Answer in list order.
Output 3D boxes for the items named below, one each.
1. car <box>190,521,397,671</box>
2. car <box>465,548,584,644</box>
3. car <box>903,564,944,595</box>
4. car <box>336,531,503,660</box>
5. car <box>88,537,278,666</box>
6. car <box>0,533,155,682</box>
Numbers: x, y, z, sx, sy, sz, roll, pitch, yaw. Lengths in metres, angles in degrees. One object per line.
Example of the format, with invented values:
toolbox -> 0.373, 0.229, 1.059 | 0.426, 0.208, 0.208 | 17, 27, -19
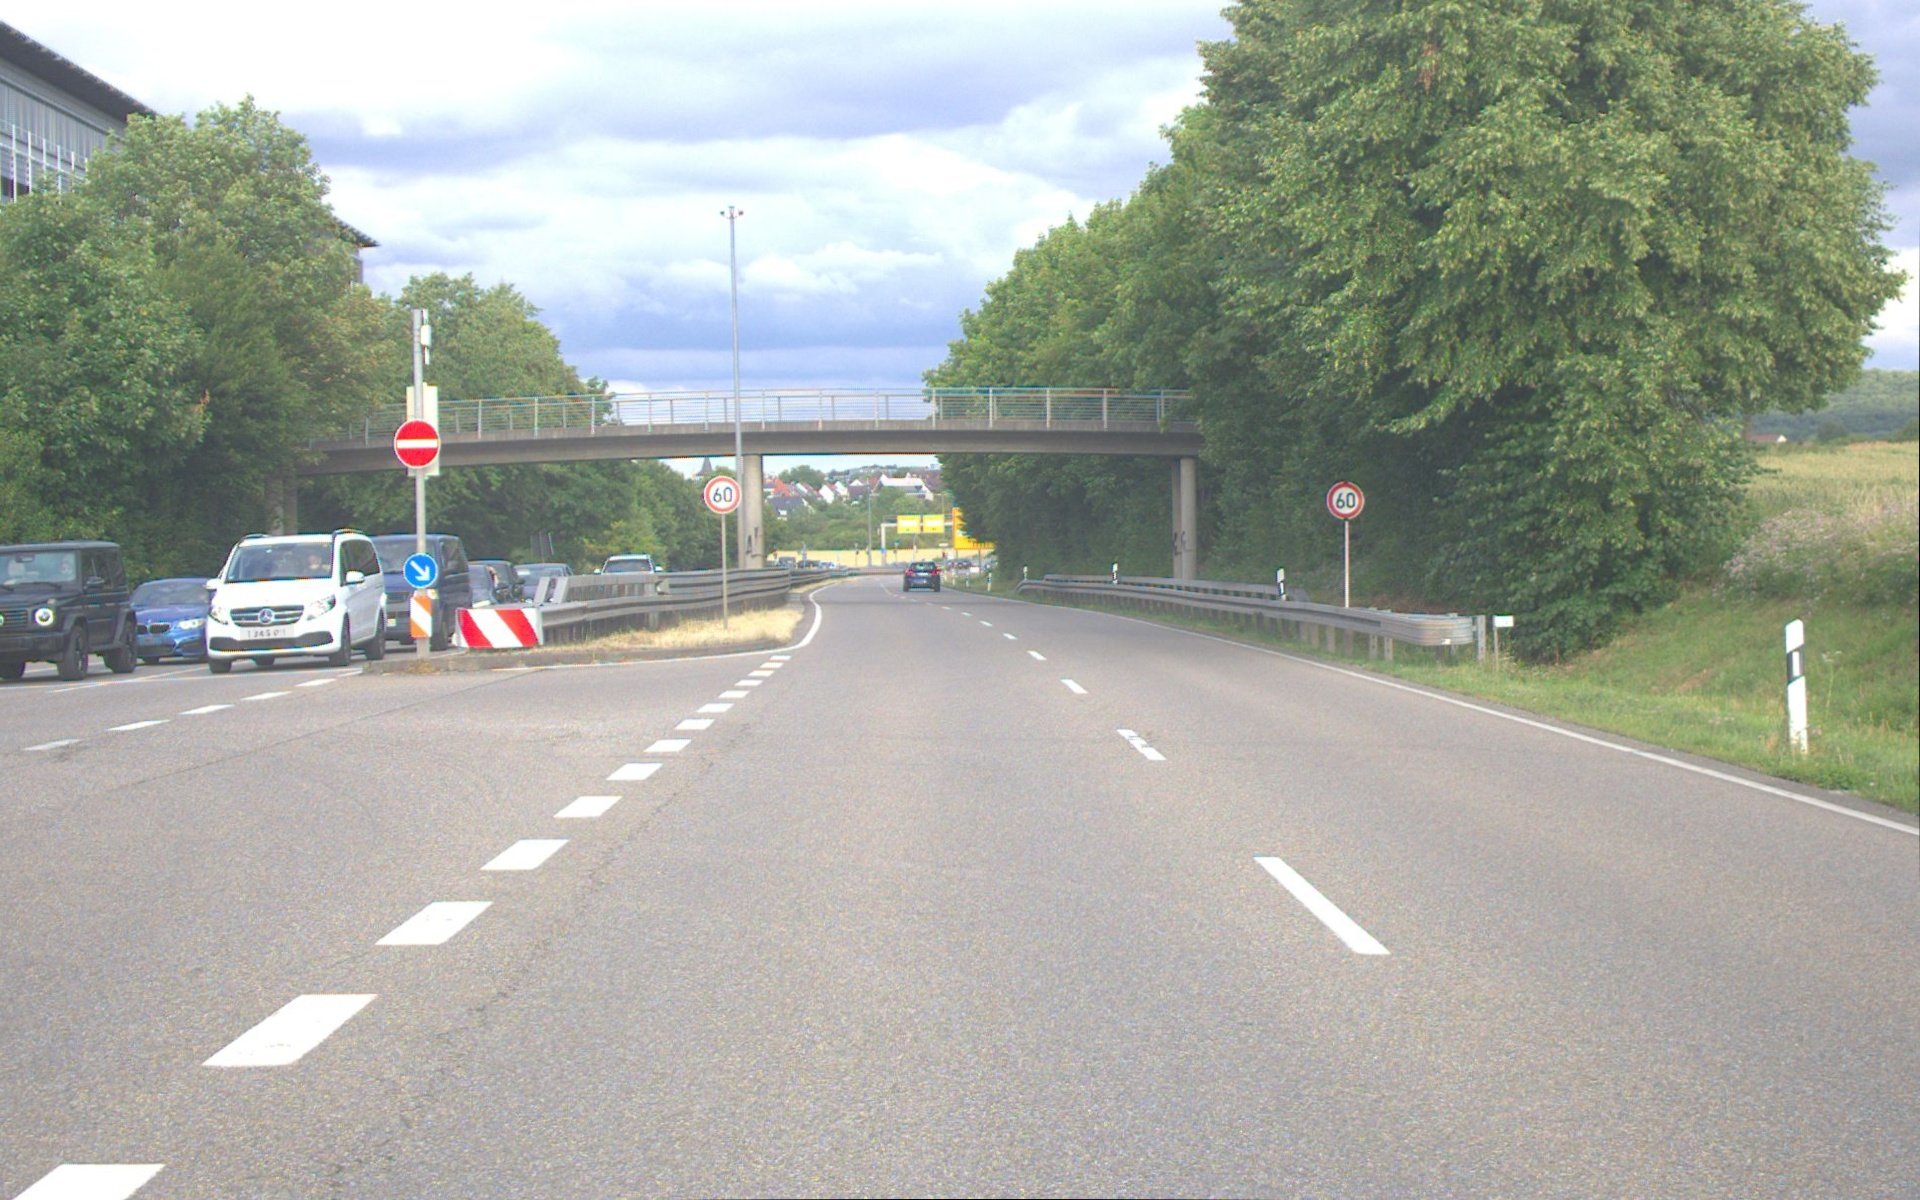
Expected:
car -> -9.488, -0.084, 49.362 | 2.083, 2.007, 5.217 | 1, 0, -2
car -> -9.545, -0.115, 75.646 | 2.083, 2.007, 5.217 | 1, 0, -2
car -> -1.868, -1.054, 174.163 | 1.879, 1.547, 4.000 | 1, 0, -3
car -> -8.909, -0.101, 57.099 | 2.083, 2.007, 5.217 | 1, 0, -2
car -> -12.753, 0.002, 56.753 | 2.083, 2.007, 5.217 | 1, 0, -2
car -> -13.122, 0.064, 49.252 | 2.083, 2.007, 5.217 | 1, 0, -2
